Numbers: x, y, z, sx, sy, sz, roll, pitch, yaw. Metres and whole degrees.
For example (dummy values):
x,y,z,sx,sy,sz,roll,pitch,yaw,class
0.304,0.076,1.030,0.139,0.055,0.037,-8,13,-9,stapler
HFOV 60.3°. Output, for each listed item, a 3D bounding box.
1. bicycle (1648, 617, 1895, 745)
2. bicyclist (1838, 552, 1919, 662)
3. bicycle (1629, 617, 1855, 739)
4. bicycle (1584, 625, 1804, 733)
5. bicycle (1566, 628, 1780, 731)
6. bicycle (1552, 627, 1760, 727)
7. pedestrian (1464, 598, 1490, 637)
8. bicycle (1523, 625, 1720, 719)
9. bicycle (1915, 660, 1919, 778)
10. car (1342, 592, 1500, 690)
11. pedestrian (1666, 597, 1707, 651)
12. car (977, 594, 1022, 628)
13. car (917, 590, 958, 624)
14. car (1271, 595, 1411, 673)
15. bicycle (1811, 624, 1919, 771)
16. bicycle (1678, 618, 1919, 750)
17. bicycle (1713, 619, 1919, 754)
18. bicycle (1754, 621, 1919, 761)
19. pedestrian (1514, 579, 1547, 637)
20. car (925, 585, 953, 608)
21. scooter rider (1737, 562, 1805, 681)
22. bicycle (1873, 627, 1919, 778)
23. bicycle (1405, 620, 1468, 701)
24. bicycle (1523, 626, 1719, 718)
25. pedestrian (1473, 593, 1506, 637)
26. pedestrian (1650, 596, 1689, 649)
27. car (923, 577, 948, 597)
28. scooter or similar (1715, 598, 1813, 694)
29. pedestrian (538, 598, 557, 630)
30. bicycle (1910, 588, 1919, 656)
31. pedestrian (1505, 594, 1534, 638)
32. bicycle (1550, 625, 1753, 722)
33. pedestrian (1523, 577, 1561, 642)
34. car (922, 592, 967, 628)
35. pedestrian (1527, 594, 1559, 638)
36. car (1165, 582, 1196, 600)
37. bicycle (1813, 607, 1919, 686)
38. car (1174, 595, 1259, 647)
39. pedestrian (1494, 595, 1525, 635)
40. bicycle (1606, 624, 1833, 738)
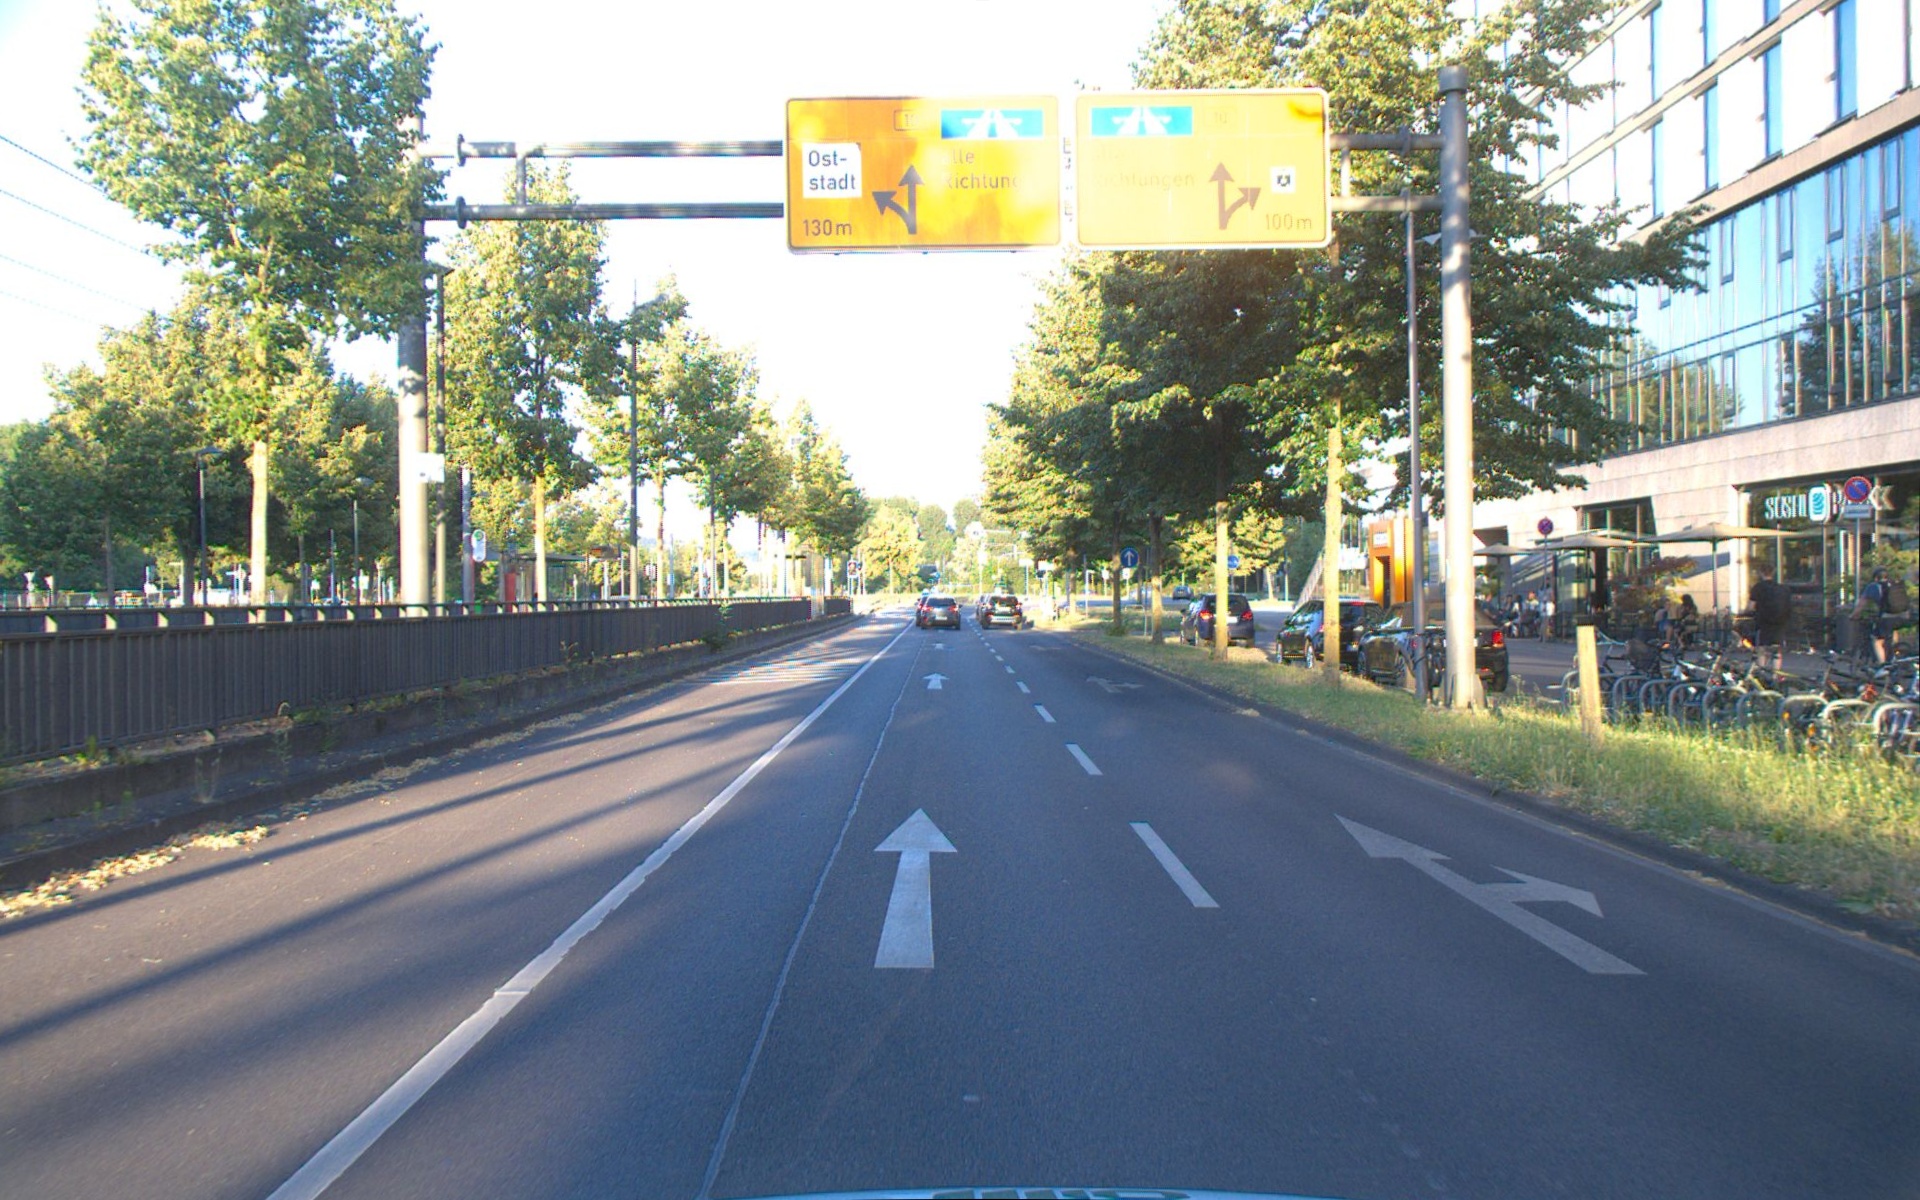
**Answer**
x,y,z,sx,sy,sz,roll,pitch,yaw,class
7.600,0.756,15.510,2.102,1.072,0.524,3,0,-7,bicycle
13.708,0.105,24.566,0.756,1.594,0.991,-1,0,-3,bicyclist
7.544,0.753,15.958,2.102,1.072,0.300,3,0,-8,bicycle
7.484,0.805,16.873,2.102,0.990,0.442,3,0,-8,bicycle
7.475,0.831,17.343,2.102,0.956,0.442,3,0,-8,bicycle
7.487,0.828,17.805,2.102,0.956,0.451,3,0,-8,bicycle
16.495,0.550,52.767,0.560,1.207,0.861,-1,0,1,pedestrian
7.536,0.814,18.846,2.102,0.956,0.442,3,0,-8,bicycle
7.808,0.780,11.736,1.905,1.072,0.404,3,0,-8,bicycle
7.612,0.635,27.648,1.543,1.498,3.881,-1,0,0,car
16.490,0.533,37.550,0.559,1.216,0.807,-1,0,1,pedestrian
1.751,0.472,74.812,1.873,1.512,3.999,0,0,-1,car
-1.091,0.322,78.399,1.873,1.512,3.999,-1,0,-1,car
7.837,0.653,34.391,1.742,1.498,4.286,-1,0,-2,car
7.773,0.780,12.829,2.102,1.072,0.570,3,0,-7,bicycle
7.644,0.755,14.955,2.102,1.072,0.524,3,0,-7,bicycle
7.695,0.756,14.344,2.102,1.072,0.570,3,0,-7,bicycle
7.748,0.766,13.718,2.102,1.072,0.561,3,0,-7,bicycle
17.255,0.238,50.018,0.625,1.748,0.695,-1,0,-20,pedestrian
-1.471,-0.228,113.168,1.873,1.512,3.999,-1,0,-1,car
11.595,0.301,23.668,0.515,1.667,0.831,-1,0,-3,scooter rider
7.769,0.785,12.205,1.905,1.072,0.404,3,0,-8,bicycle
6.292,0.779,21.895,0.312,0.997,1.846,-1,0,1,bicycle
7.735,0.834,19.374,2.102,0.956,0.544,3,0,-7,bicycle
15.792,0.449,49.370,0.617,1.305,0.712,-1,0,-22,pedestrian
16.509,0.520,38.493,0.560,1.216,0.806,-1,0,0,pedestrian
-1.924,-1.010,129.921,1.873,1.512,3.999,-1,0,-1,car
11.587,0.639,23.888,0.515,1.333,1.663,-1,0,-3,scooter or similar
-17.396,0.581,69.752,0.602,1.342,0.744,-1,0,-4,pedestrian
17.782,0.402,29.505,0.459,1.229,2.264,-1,0,3,bicycle
16.629,0.465,49.148,0.567,1.305,0.738,-1,0,-5,pedestrian
7.620,0.808,18.234,2.102,0.956,0.442,3,0,-8,bicycle
16.061,0.247,45.631,0.696,1.767,0.682,-1,0,-31,pedestrian
-0.701,0.411,71.802,1.873,1.512,3.999,-1,0,-1,car
17.344,0.475,49.185,0.570,1.305,0.735,-1,0,-19,pedestrian
21.927,-0.874,164.314,1.953,1.758,3.998,-1,0,24,car
13.706,0.665,24.708,0.756,1.098,2.062,-1,0,-3,bicycle
7.655,0.593,49.718,1.722,1.491,4.156,-1,0,-3,car
17.181,0.467,51.733,0.609,1.207,0.712,-1,0,-37,pedestrian
7.518,0.801,16.385,2.102,1.004,0.442,3,0,-8,bicycle
